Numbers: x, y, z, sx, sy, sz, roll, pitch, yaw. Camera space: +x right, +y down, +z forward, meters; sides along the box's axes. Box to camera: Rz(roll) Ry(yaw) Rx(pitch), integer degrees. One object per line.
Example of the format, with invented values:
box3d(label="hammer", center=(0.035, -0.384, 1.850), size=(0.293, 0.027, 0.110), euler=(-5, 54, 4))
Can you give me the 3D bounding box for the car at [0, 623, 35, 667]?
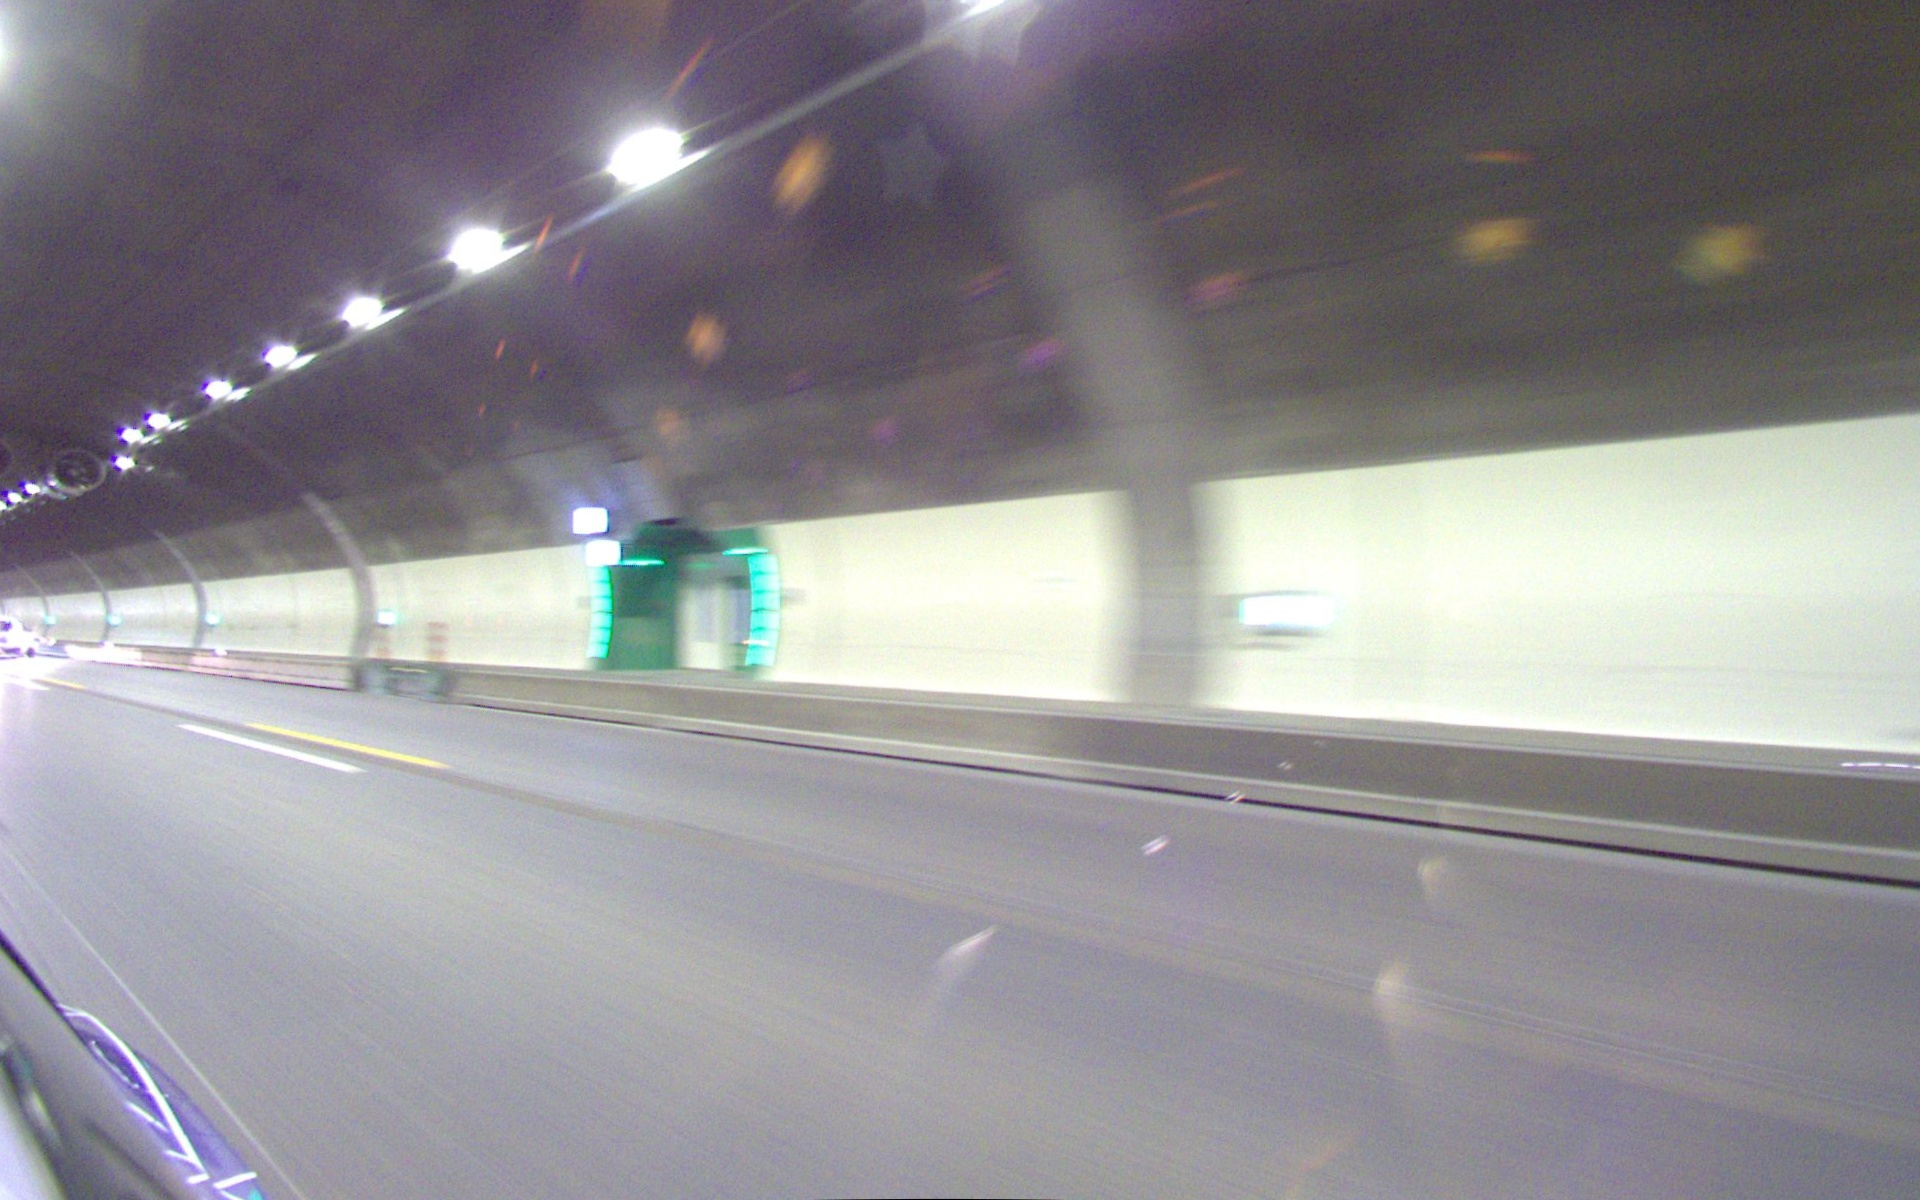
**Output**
box3d(label="car", center=(-38.153, 1.763, 40.046), size=(4.094, 1.584, 1.744), euler=(-1, 1, 40))
